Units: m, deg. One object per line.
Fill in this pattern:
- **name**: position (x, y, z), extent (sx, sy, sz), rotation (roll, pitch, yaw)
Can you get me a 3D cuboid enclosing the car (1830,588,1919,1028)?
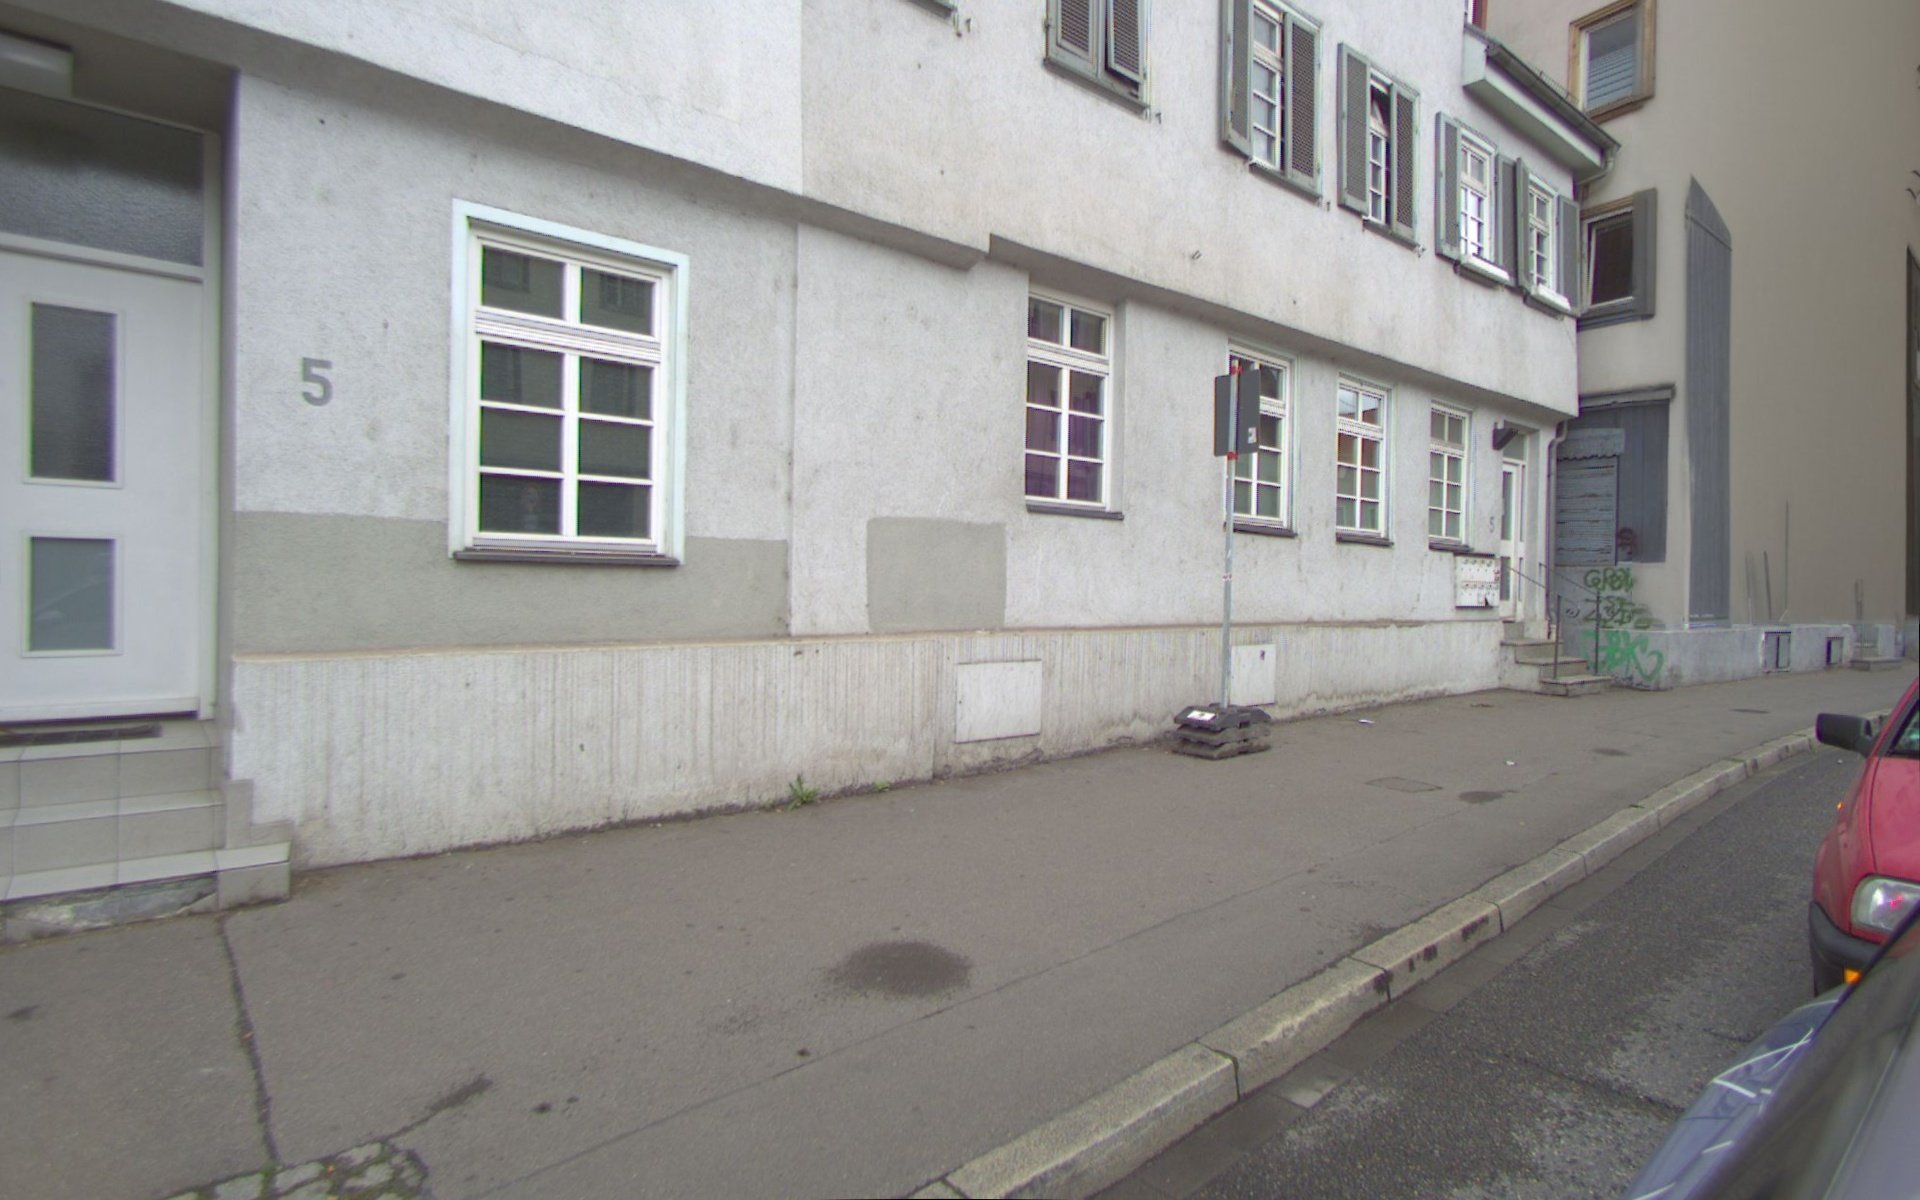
- **car**: position (5.052, 0.699, 4.146), extent (3.950, 1.445, 1.684), rotation (0, 1, -41)
